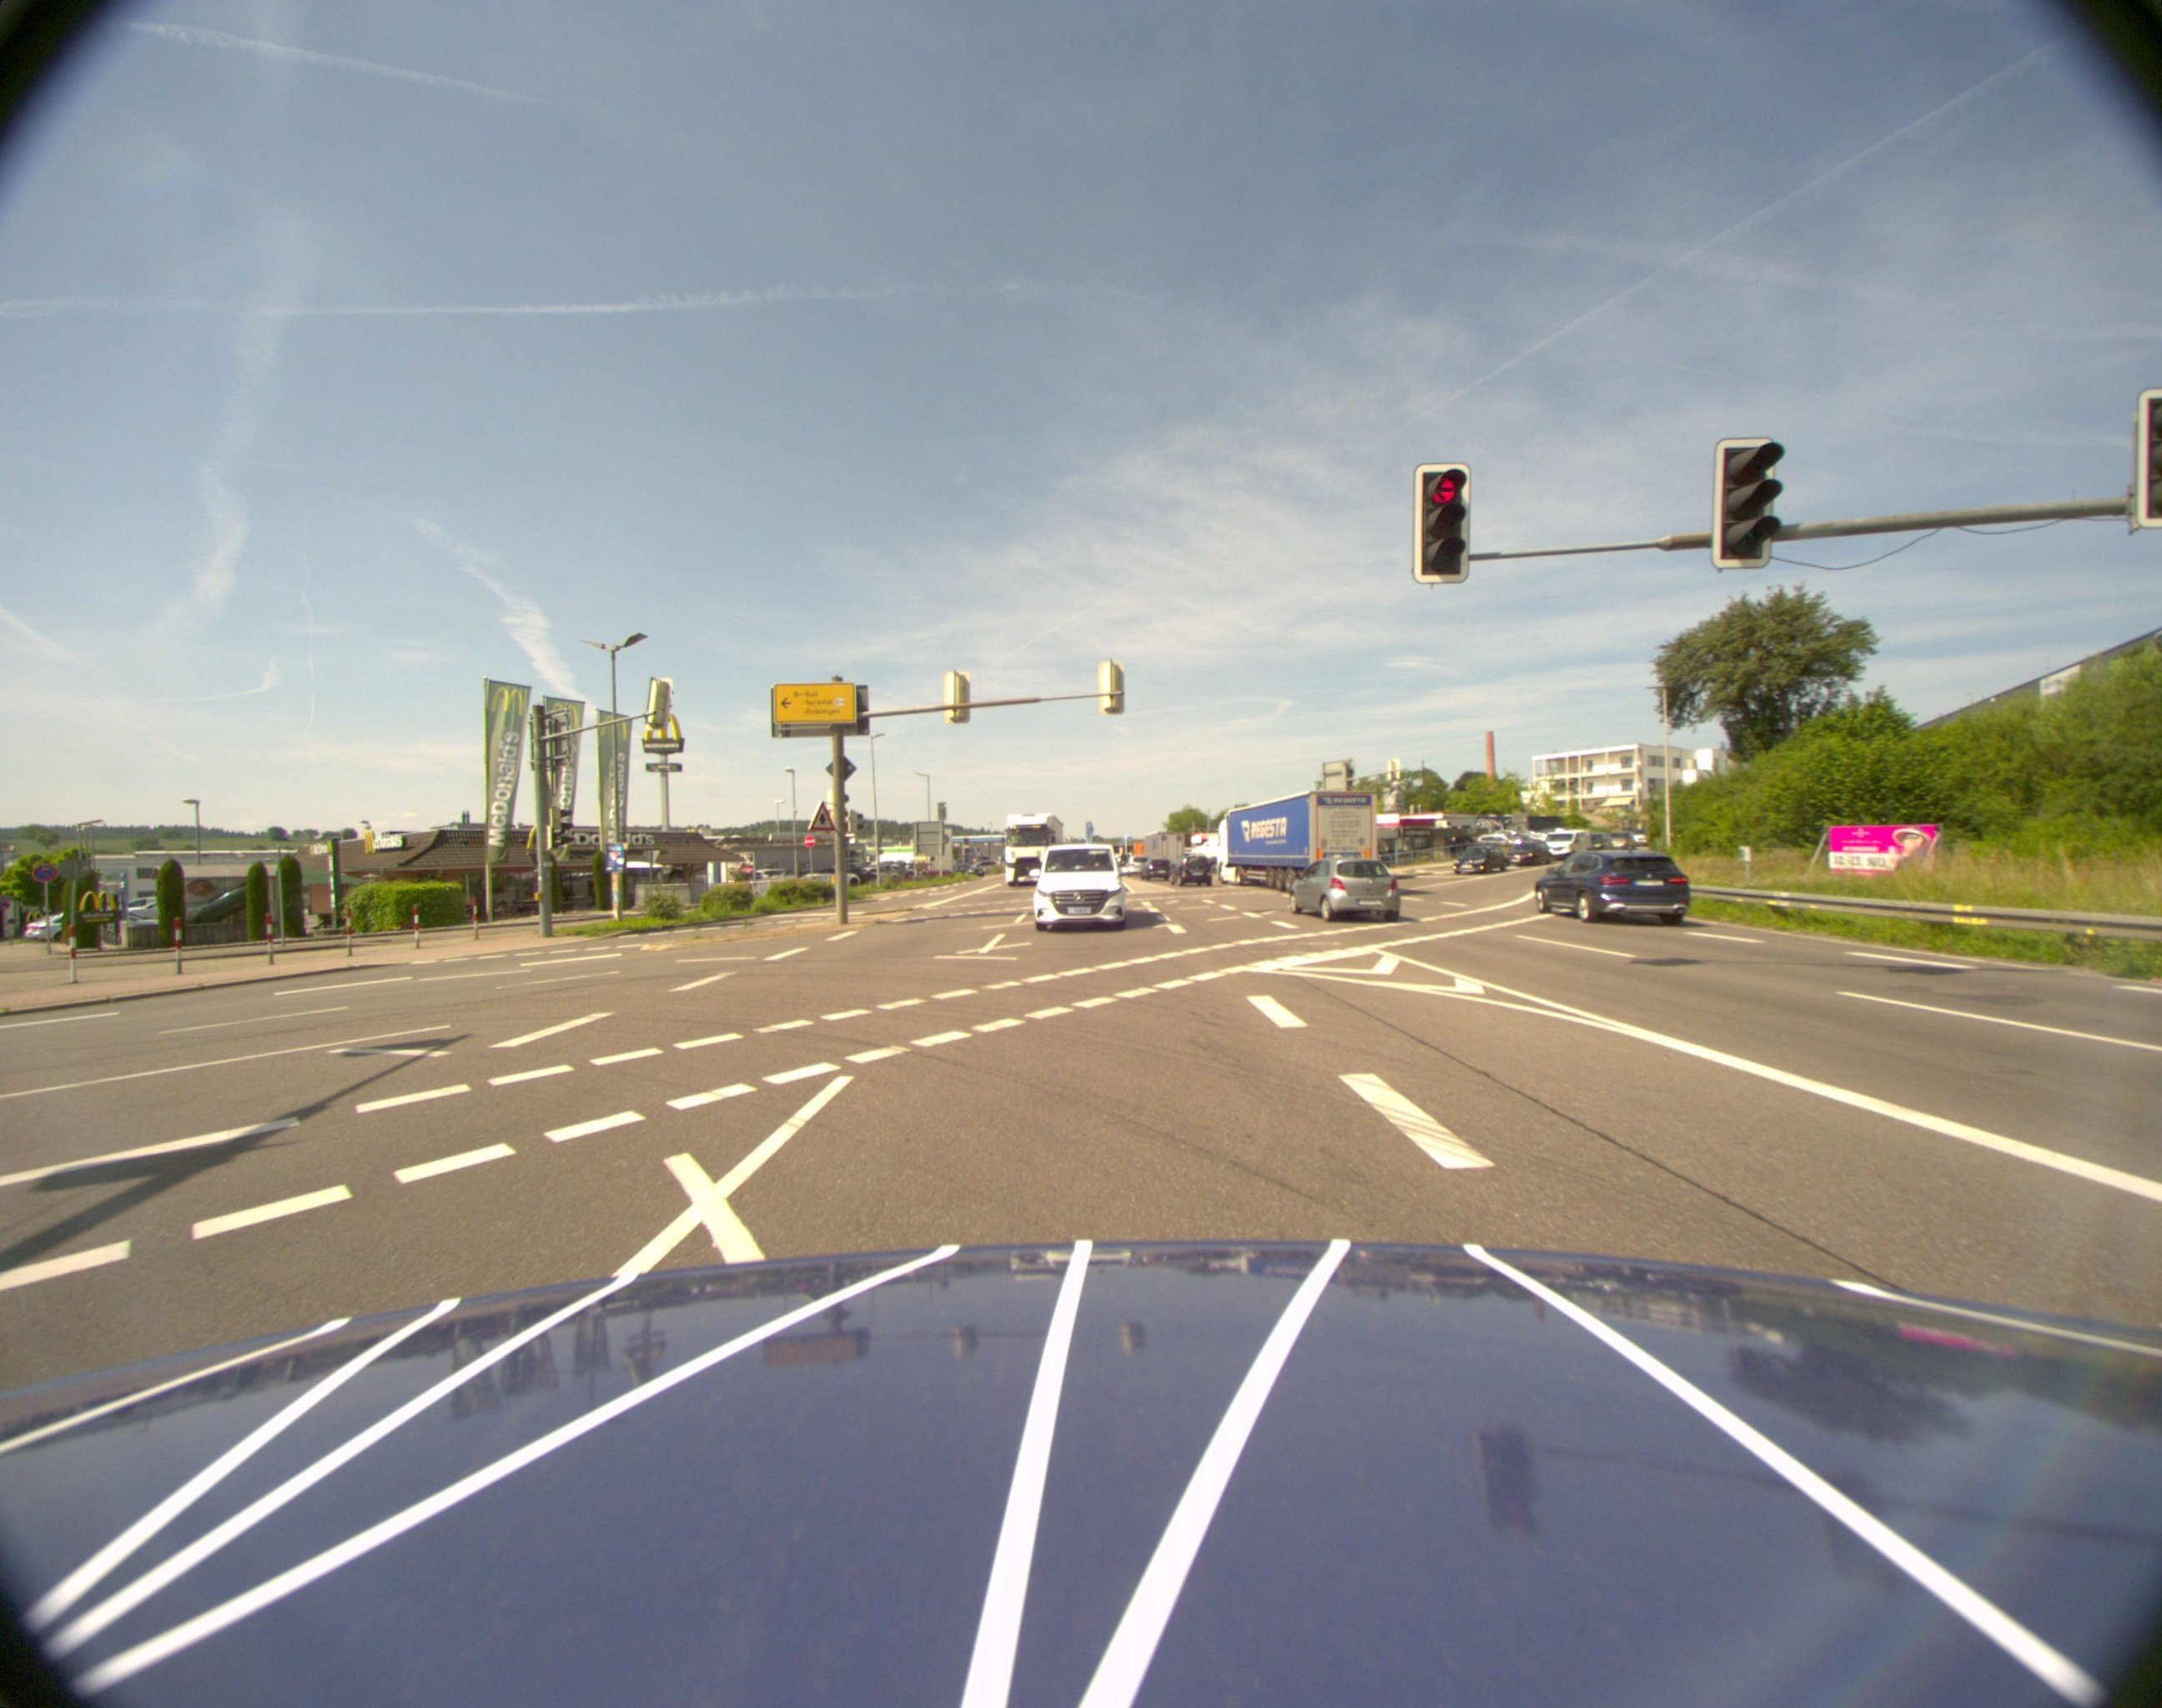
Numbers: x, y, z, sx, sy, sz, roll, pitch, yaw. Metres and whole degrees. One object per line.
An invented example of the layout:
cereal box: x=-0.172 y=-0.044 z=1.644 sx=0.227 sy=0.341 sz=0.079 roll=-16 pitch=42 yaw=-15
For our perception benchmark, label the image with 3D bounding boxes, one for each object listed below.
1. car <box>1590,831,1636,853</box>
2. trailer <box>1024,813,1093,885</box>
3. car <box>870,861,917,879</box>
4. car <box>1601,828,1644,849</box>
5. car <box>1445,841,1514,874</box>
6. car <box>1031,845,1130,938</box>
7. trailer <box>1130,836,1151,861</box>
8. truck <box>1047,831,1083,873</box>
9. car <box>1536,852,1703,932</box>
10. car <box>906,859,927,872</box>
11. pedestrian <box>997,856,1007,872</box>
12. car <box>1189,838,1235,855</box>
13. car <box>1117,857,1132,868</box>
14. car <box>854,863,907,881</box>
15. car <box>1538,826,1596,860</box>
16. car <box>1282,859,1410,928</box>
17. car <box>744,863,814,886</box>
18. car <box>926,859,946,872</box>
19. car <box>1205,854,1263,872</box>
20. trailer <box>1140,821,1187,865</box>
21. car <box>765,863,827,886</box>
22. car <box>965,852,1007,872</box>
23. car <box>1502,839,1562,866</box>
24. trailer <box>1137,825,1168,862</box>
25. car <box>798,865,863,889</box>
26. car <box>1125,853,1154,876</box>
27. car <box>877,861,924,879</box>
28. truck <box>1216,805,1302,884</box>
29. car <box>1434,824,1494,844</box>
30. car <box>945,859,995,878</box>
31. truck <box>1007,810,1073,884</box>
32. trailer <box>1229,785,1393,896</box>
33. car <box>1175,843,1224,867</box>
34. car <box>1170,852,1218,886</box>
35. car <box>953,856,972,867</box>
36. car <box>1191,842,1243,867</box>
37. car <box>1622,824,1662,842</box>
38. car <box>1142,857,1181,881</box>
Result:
car: x=40.641 y=-0.935 z=57.978 sx=4.518 sy=1.554 sz=1.994 roll=-4 pitch=2 yaw=-43
trailer: x=-1.267 y=-0.311 z=50.656 sx=2.612 sy=4.203 sz=11.299 roll=0 pitch=0 yaw=8
car: x=-18.344 y=1.573 z=74.386 sx=4.007 sy=1.661 sz=1.916 roll=-1 pitch=0 yaw=-36
car: x=45.643 y=-1.330 z=64.061 sx=4.517 sy=1.554 sz=1.994 roll=-4 pitch=2 yaw=-42
car: x=22.386 y=0.199 z=42.610 sx=4.644 sy=1.518 sz=1.910 roll=-4 pitch=1 yaw=-43
car: x=0.056 y=0.744 z=18.193 sx=1.993 sy=1.858 sz=5.803 roll=0 pitch=0 yaw=1
trailer: x=9.714 y=-0.923 z=125.649 sx=2.727 sy=3.975 sz=12.234 roll=0 pitch=0 yaw=1
truck: x=-1.510 y=-0.181 z=76.411 sx=2.646 sy=3.963 sz=9.242 roll=0 pitch=0 yaw=5
car: x=12.578 y=0.784 z=18.101 sx=1.996 sy=1.667 sz=4.313 roll=0 pitch=0 yaw=17
car: x=-22.055 y=1.568 z=101.743 sx=1.968 sy=1.645 sz=4.537 roll=0 pitch=0 yaw=-2
pedestrian: x=-9.221 y=1.140 z=88.807 sx=0.990 sy=1.900 sz=0.742 roll=-1 pitch=1 yaw=-33
car: x=13.323 y=-0.762 z=77.051 sx=4.189 sy=1.613 sz=2.026 roll=0 pitch=0 yaw=-26
car: x=6.449 y=1.213 z=113.775 sx=1.913 sy=1.593 sz=4.588 roll=1 pitch=0 yaw=-1
car: x=-17.490 y=1.523 z=66.504 sx=1.744 sy=1.483 sz=4.273 roll=0 pitch=0 yaw=37
car: x=33.721 y=-0.787 z=52.633 sx=5.524 sy=2.030 sz=2.063 roll=-4 pitch=2 yaw=-43
car: x=6.422 y=0.882 z=18.874 sx=1.730 sy=1.493 sz=3.999 roll=0 pitch=0 yaw=-1
car: x=-24.027 y=1.582 z=60.607 sx=1.907 sy=1.661 sz=4.828 roll=0 pitch=0 yaw=37
car: x=-19.462 y=1.531 z=101.914 sx=1.908 sy=1.645 sz=4.709 roll=0 pitch=0 yaw=-2
car: x=13.405 y=0.775 z=66.598 sx=4.628 sy=1.428 sz=1.978 roll=-3 pitch=0 yaw=45
trailer: x=8.283 y=-1.081 z=78.032 sx=2.699 sy=4.123 sz=13.875 roll=0 pitch=0 yaw=-2
car: x=-22.214 y=1.573 z=59.296 sx=1.771 sy=1.661 sz=4.179 roll=0 pitch=0 yaw=37
car: x=-10.773 y=0.888 z=86.358 sx=4.355 sy=2.200 sz=1.759 roll=-1 pitch=1 yaw=-28
car: x=28.563 y=-0.111 z=48.020 sx=4.983 sy=1.411 sz=1.944 roll=-4 pitch=3 yaw=-43
trailer: x=7.986 y=-1.143 z=85.188 sx=2.653 sy=4.081 sz=6.179 roll=0 pitch=0 yaw=-2
car: x=-18.520 y=1.675 z=56.377 sx=1.855 sy=1.567 sz=4.242 roll=0 pitch=0 yaw=37
car: x=4.781 y=0.851 z=62.754 sx=1.848 sy=1.722 sz=4.588 roll=-2 pitch=0 yaw=-1
car: x=-17.176 y=1.493 z=72.286 sx=4.031 sy=1.661 sz=1.772 roll=-1 pitch=0 yaw=-29
truck: x=9.723 y=-0.484 z=42.298 sx=3.196 sy=4.056 sz=6.345 roll=0 pitch=0 yaw=-1
car: x=32.680 y=-1.664 z=64.924 sx=2.003 sy=1.554 sz=4.059 roll=-4 pitch=2 yaw=-41
car: x=-10.236 y=1.341 z=69.847 sx=1.969 sy=1.325 sz=4.804 roll=-7 pitch=2 yaw=-44
truck: x=-2.229 y=-0.369 z=43.595 sx=2.646 sy=3.963 sz=6.045 roll=0 pitch=0 yaw=7
trailer: x=9.875 y=-0.523 z=35.102 sx=3.101 sy=4.056 sz=14.124 roll=0 pitch=0 yaw=-1
car: x=14.003 y=0.112 z=90.116 sx=5.579 sy=2.756 sz=2.177 roll=0 pitch=1 yaw=3
car: x=5.923 y=0.753 z=40.394 sx=1.998 sy=1.716 sz=4.000 roll=0 pitch=0 yaw=1
car: x=-18.749 y=1.154 z=120.096 sx=1.774 sy=1.645 sz=4.540 roll=0 pitch=0 yaw=7
car: x=15.619 y=0.063 z=87.647 sx=5.721 sy=2.821 sz=2.117 roll=0 pitch=0 yaw=3
car: x=51.027 y=-1.921 z=69.076 sx=4.517 sy=1.554 sz=1.994 roll=-4 pitch=2 yaw=-42
car: x=5.278 y=0.963 z=50.572 sx=1.999 sy=1.476 sz=4.453 roll=0 pitch=0 yaw=-2
